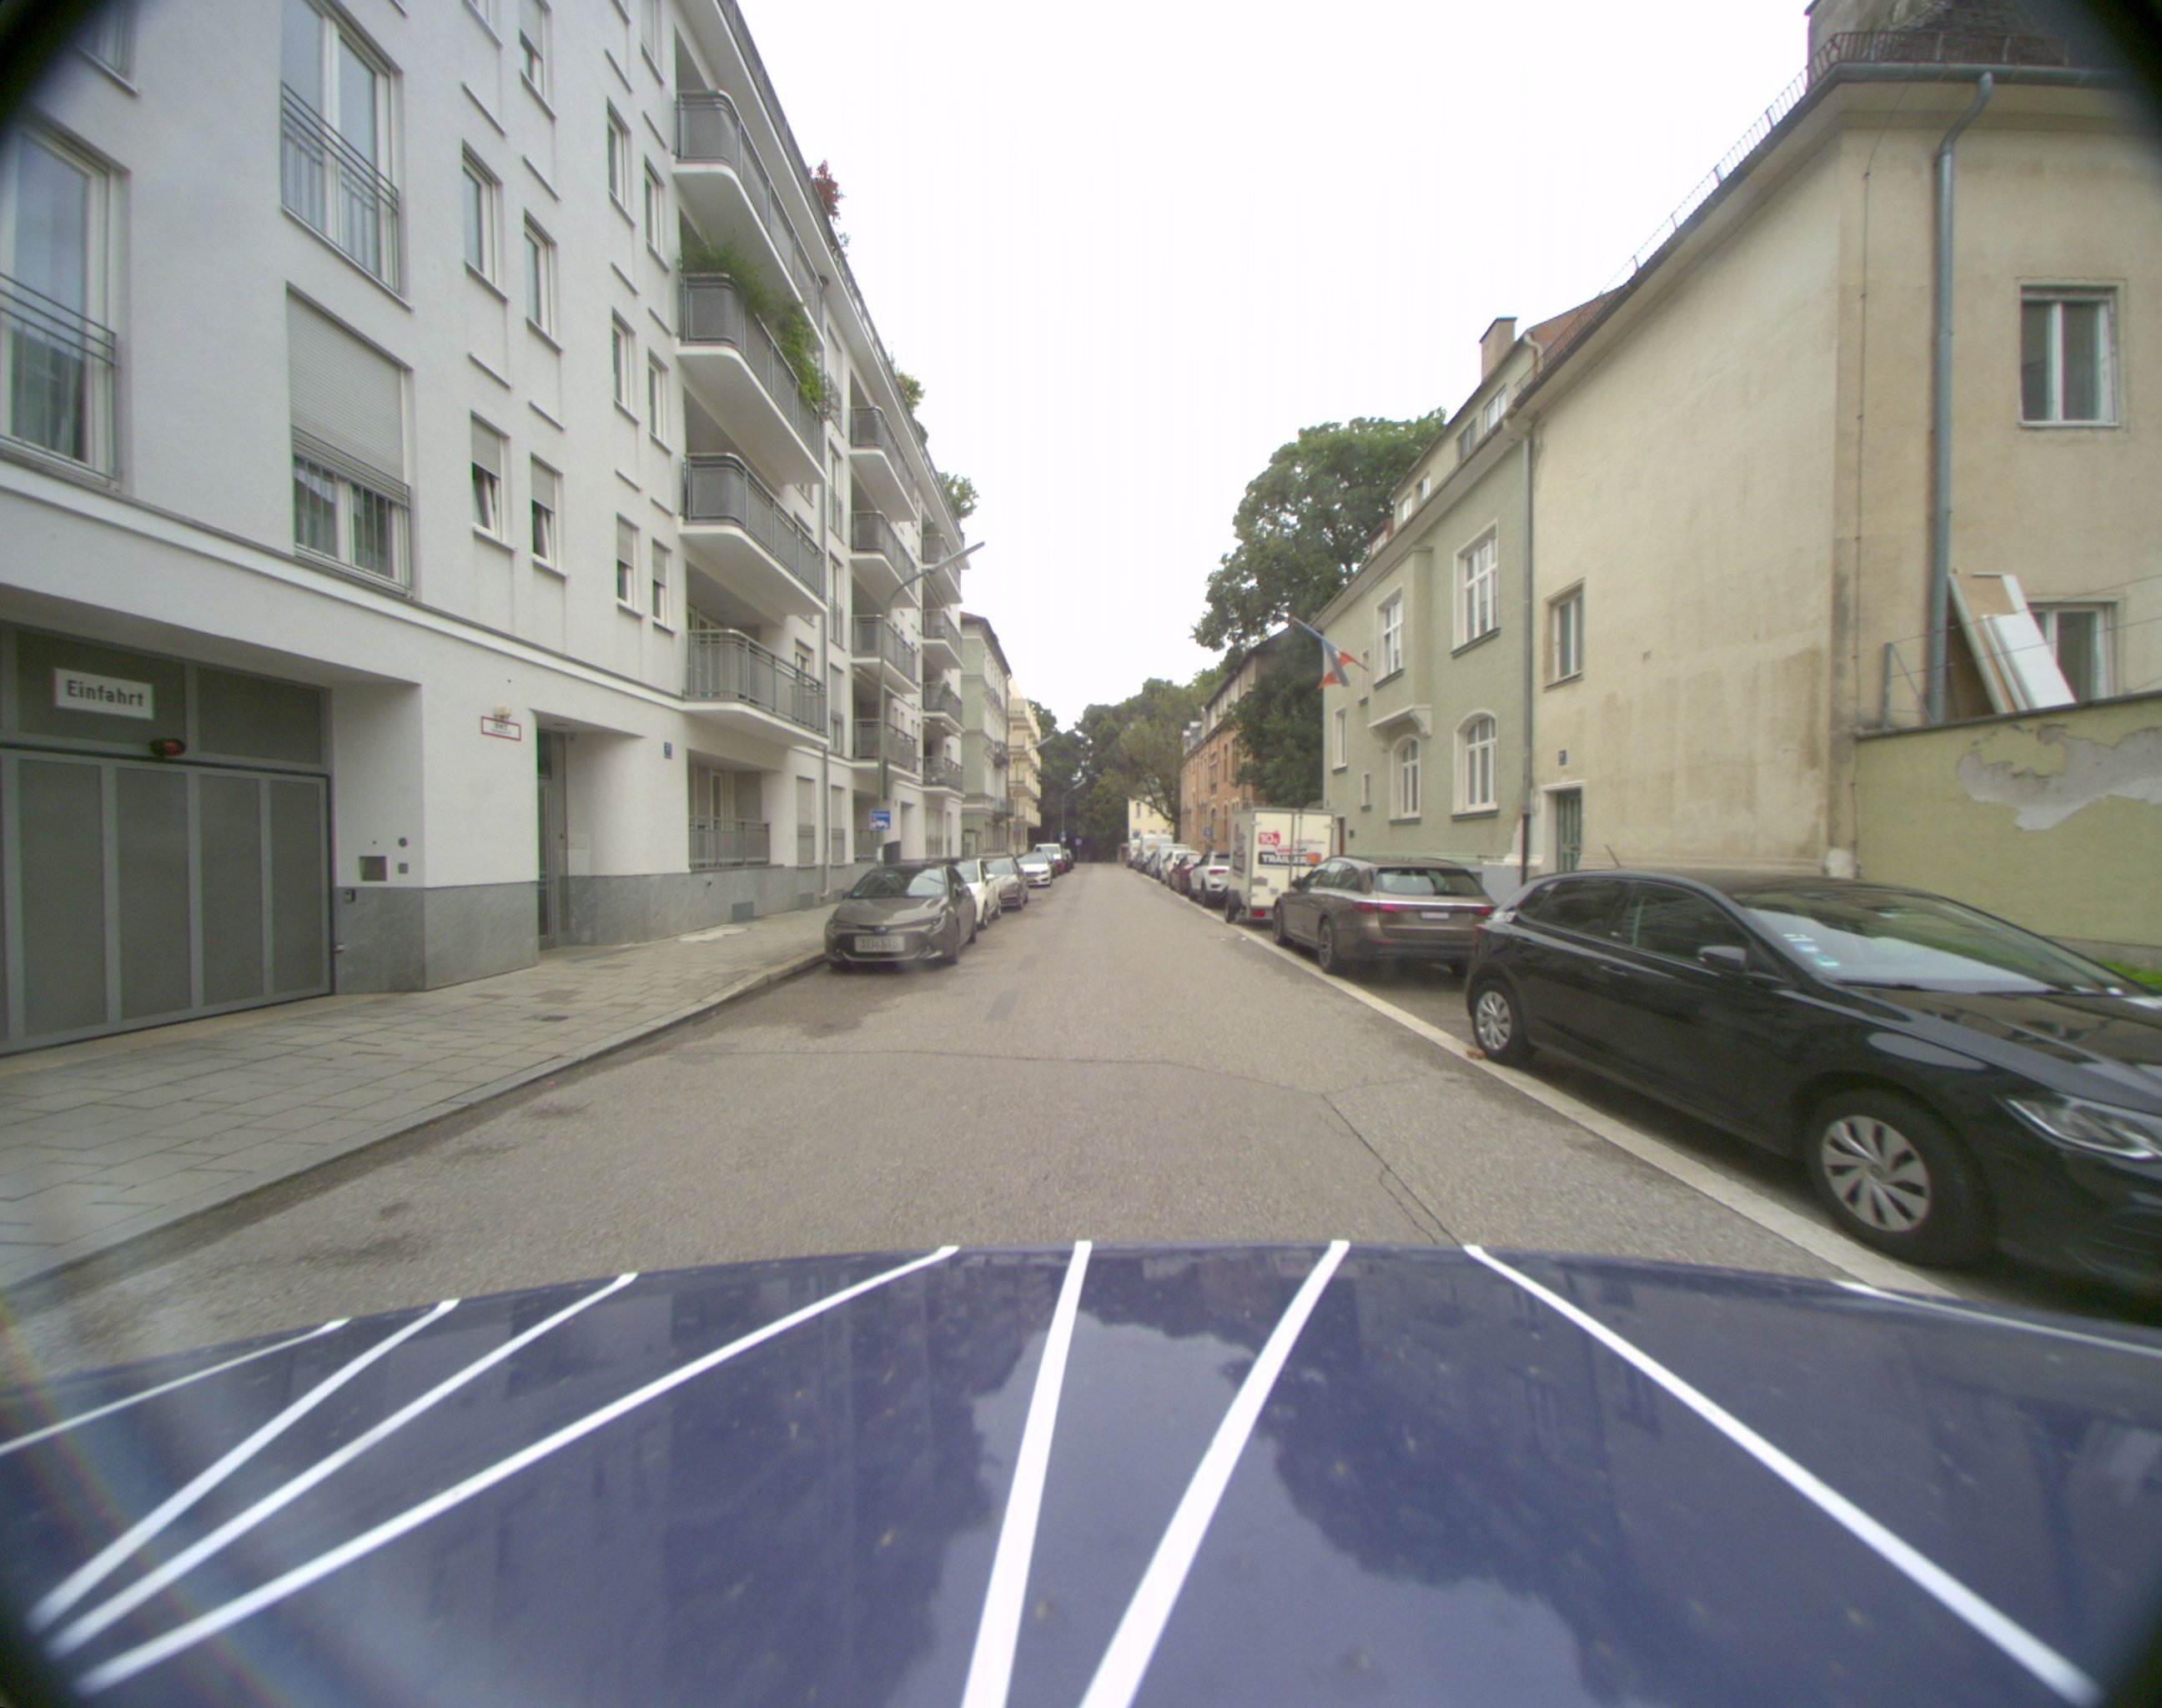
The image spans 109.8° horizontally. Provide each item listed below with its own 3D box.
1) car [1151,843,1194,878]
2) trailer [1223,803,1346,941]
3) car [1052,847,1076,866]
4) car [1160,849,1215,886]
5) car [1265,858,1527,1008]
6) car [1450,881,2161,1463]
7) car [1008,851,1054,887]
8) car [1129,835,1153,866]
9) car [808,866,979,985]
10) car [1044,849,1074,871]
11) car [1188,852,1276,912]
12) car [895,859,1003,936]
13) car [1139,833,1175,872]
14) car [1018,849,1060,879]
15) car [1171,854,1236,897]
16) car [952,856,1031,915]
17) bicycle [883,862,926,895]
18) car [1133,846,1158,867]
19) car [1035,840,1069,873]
[{"bbox_3d":[4.570,0.292,38.438,1.817,1.724,3.649,0,1,1],"label":"car"},{"bbox_3d":[4.165,0.315,16.080,1.817,2.521,3.389,4,1,5],"label":"trailer"},{"bbox_3d":[-1.398,0.186,64.000,1.871,1.455,4.268,0,1,2],"label":"car"},{"bbox_3d":[4.495,0.542,32.512,1.818,1.444,3.927,0,1,0],"label":"car"},{"bbox_3d":[3.927,0.858,10.464,1.817,1.491,4.643,1,1,2],"label":"car"},{"bbox_3d":[3.764,0.949,3.841,1.697,1.417,4.069,1,1,-2],"label":"car"},{"bbox_3d":[-2.115,0.607,32.971,1.766,1.449,3.747,0,1,0],"label":"car"},{"bbox_3d":[5.111,-0.337,65.254,1.880,2.539,4.370,0,1,2],"label":"car"},{"bbox_3d":[-2.663,0.946,11.797,1.784,1.386,4.245,0,1,-3],"label":"car"},{"bbox_3d":[-1.521,0.373,53.442,1.871,1.455,4.268,0,1,2],"label":"car"},{"bbox_3d":[4.156,0.720,21.544,1.767,1.505,3.842,1,1,1],"label":"car"},{"bbox_3d":[-2.766,0.869,16.641,1.766,1.449,3.417,0,1,0],"label":"car"},{"bbox_3d":[4.827,-0.126,48.743,2.104,2.418,4.549,0,1,3],"label":"car"},{"bbox_3d":[-2.126,0.473,39.495,1.765,1.449,3.748,0,1,3],"label":"car"},{"bbox_3d":[4.236,0.704,26.700,1.817,1.339,3.746,0,1,2],"label":"car"},{"bbox_3d":[-2.400,0.808,21.183,1.766,1.449,3.747,0,1,0],"label":"car"},{"bbox_3d":[-5.929,0.822,25.592,0.580,1.008,1.955,-1,1,13],"label":"bicycle"},{"bbox_3d":[5.006,0.180,59.448,1.817,1.526,3.752,0,1,2],"label":"car"},{"bbox_3d":[-1.791,0.116,48.220,1.871,2.002,4.268,0,1,2],"label":"car"}]
